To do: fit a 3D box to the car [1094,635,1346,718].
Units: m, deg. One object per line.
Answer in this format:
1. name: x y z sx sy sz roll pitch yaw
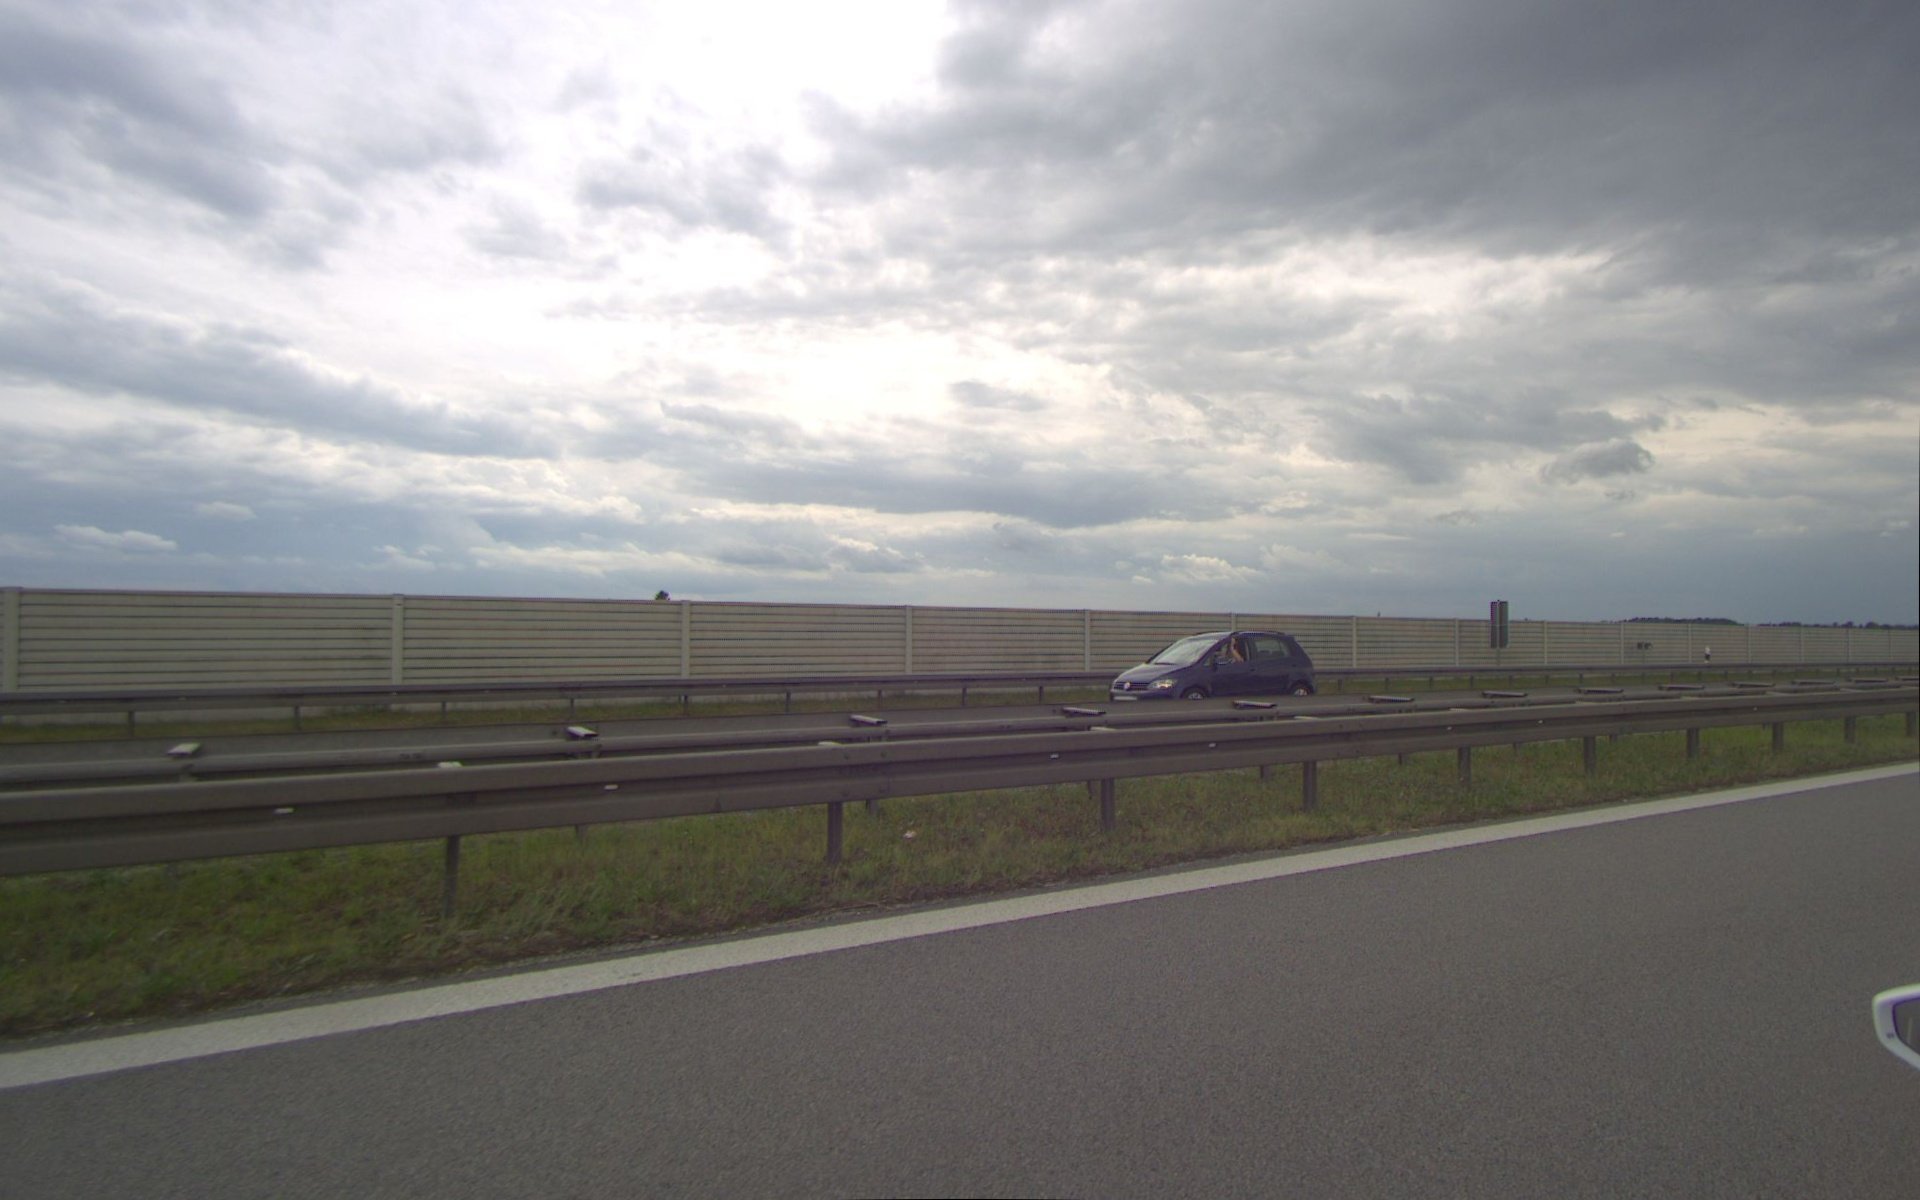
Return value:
1. car: 4.753 1.352 18.199 4.555 1.345 1.652 1 -5 -30
